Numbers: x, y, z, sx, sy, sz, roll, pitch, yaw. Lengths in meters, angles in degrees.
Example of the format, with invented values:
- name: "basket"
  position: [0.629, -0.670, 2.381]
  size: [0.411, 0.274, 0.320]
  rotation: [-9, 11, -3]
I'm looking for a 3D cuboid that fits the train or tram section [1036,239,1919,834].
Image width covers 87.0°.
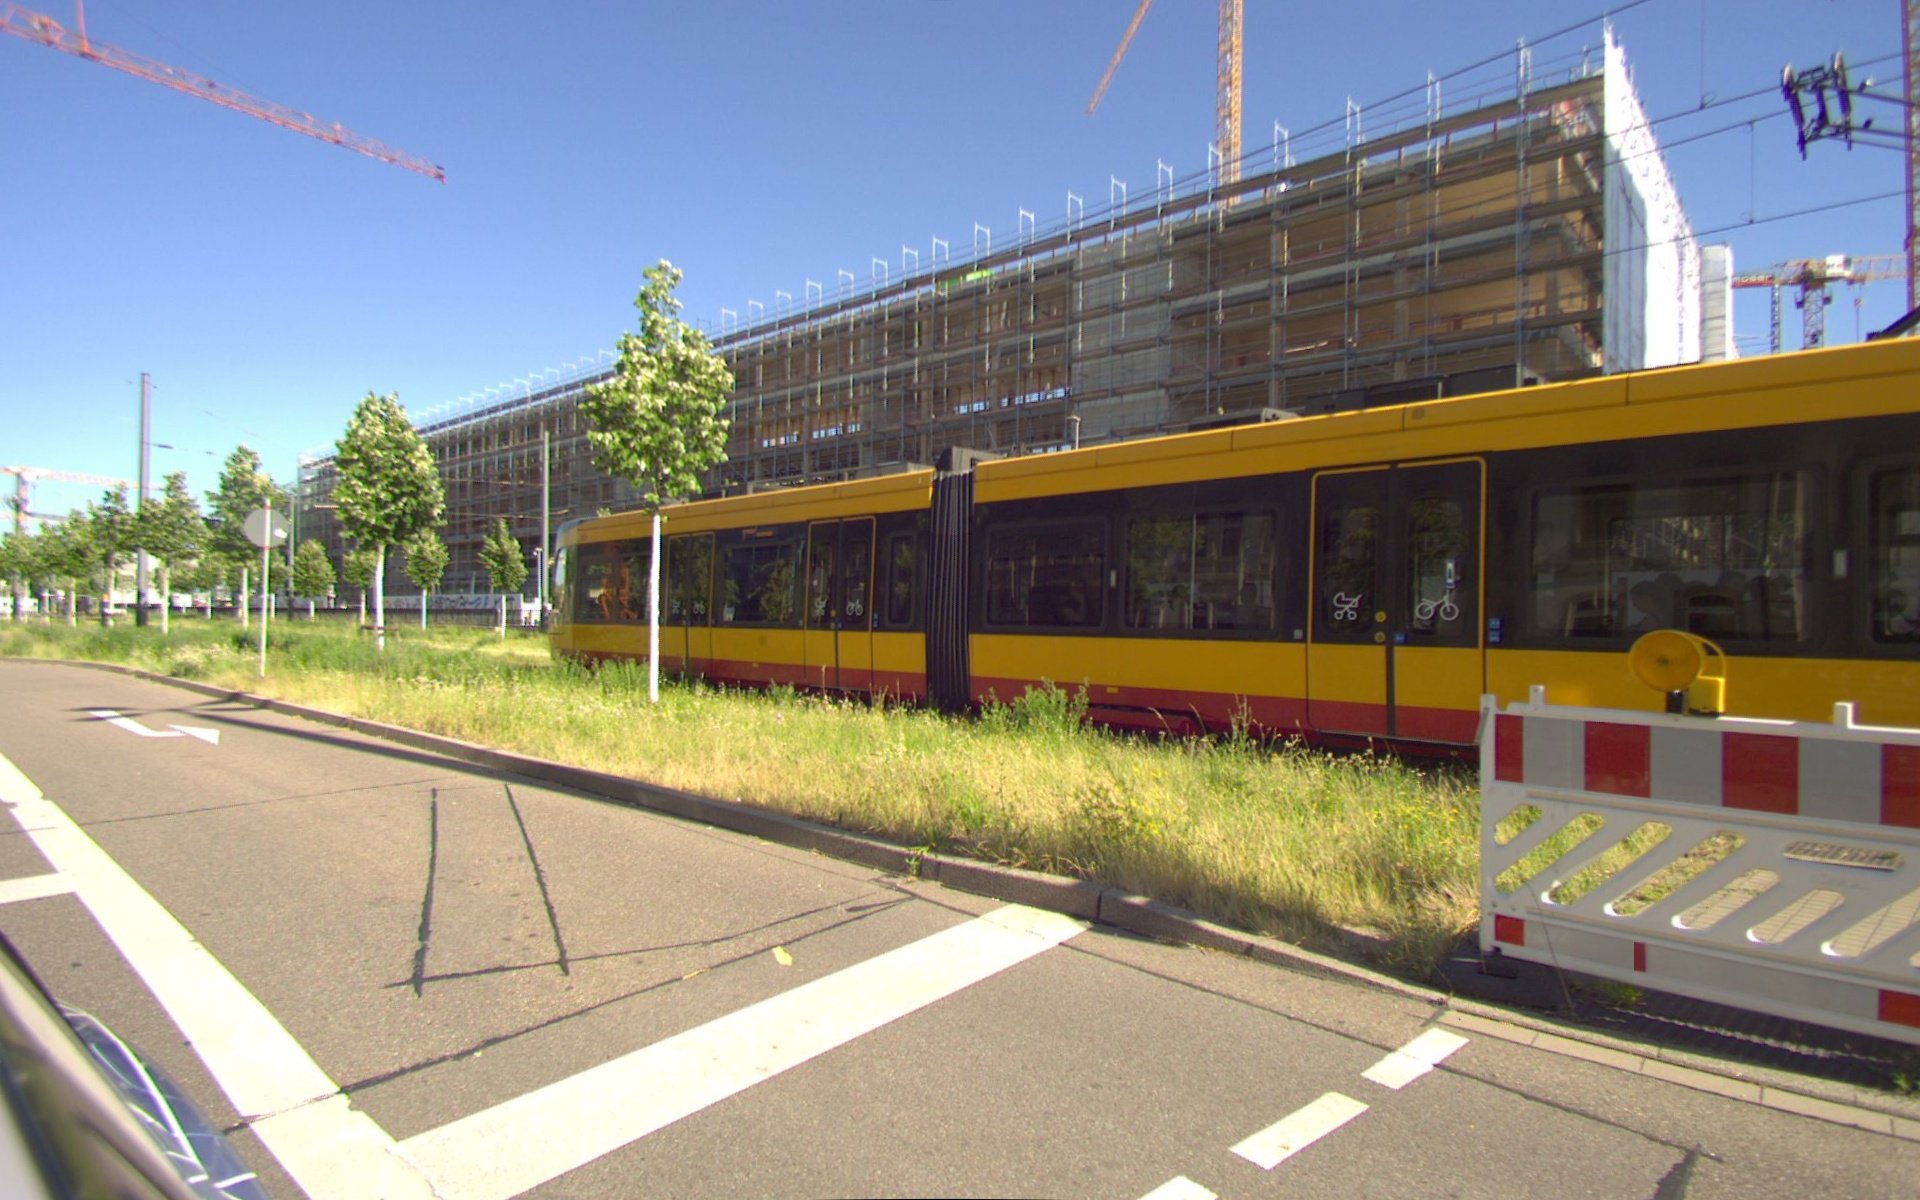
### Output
- name: "train or tram section"
  position: [5.580, -0.402, 8.036]
  size: [11.320, 3.697, 1.971]
  rotation: [0, 0, 44]

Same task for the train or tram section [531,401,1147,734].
- name: "train or tram section"
  position: [-3.343, -0.389, 16.948]
  size: [1.971, 3.697, 14.161]
  rotation: [0, 0, -45]
